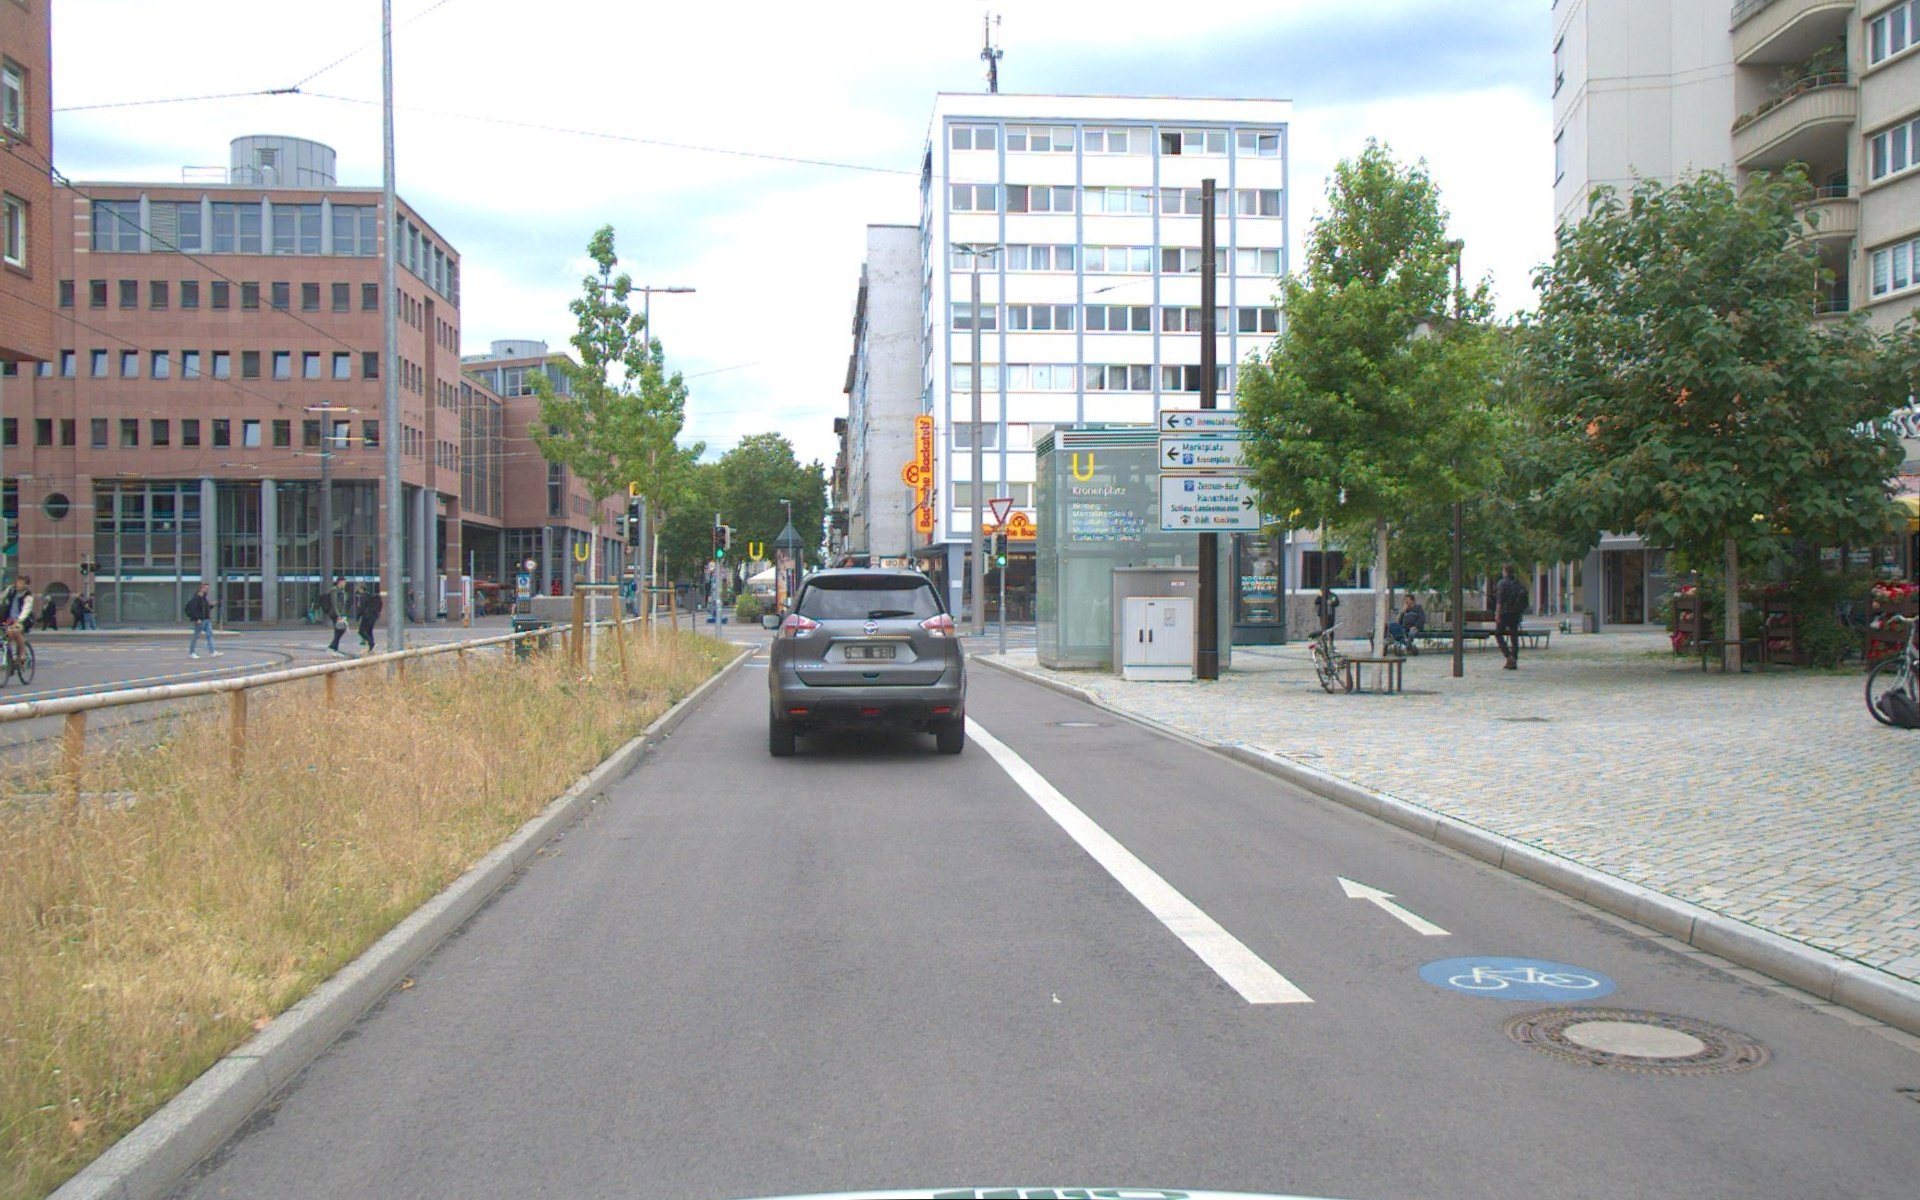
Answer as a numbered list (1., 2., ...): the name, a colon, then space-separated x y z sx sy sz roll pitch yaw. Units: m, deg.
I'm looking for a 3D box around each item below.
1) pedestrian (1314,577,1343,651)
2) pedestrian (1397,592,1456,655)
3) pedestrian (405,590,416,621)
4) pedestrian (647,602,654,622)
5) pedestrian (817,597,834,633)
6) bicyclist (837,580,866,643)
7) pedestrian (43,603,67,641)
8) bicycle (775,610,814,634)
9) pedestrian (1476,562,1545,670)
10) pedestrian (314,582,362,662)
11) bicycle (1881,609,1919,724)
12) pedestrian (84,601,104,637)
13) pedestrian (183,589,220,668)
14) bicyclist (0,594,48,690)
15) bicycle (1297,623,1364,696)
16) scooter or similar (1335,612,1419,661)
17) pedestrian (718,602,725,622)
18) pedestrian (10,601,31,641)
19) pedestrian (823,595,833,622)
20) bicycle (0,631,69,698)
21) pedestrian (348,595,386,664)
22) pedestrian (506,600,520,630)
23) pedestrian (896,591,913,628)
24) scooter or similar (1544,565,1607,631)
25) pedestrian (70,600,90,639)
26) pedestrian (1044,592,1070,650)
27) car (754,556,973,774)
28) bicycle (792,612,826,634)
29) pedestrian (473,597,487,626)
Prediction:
1. pedestrian: 9.135 0.342 41.006 0.657 1.792 0.642 1 0 10
2. pedestrian: 10.089 0.500 35.769 1.023 1.320 0.733 -2 0 0
3. pedestrian: -27.589 0.291 83.066 0.443 1.559 0.518 1 0 -23
4. pedestrian: -26.653 1.016 142.485 0.590 1.744 0.653 1 0 -12
5. pedestrian: -6.743 0.759 82.831 0.720 1.776 0.660 1 0 -17
6. bicyclist: -3.238 0.342 49.263 0.817 1.844 0.877 1 0 -3
7. pedestrian: -37.309 0.911 68.176 0.560 1.588 0.744 0 -2 0
8. bicycle: -8.340 1.103 83.372 1.839 1.192 0.528 1 0 -20
9. pedestrian: 9.718 0.283 29.234 0.700 1.834 1.076 -3 0 -6
10. pedestrian: -15.098 0.540 40.171 0.879 1.923 0.798 1 -1 -7
11. bicycle: 10.402 0.640 16.568 1.991 1.130 0.478 -2 0 10
12. pedestrian: -38.547 0.867 73.611 0.733 1.588 0.569 1 -2 -26
13. pedestrian: -18.574 0.698 40.531 0.599 1.923 0.798 0 -1 -7
14. bicyclist: -15.632 0.688 27.549 0.482 1.567 0.811 -1 0 -7
15. bicycle: 5.504 0.863 24.514 0.644 0.995 1.754 -1 0 23
16. scooter or similar: 8.830 0.777 35.038 1.559 0.965 0.723 -2 0 33
17. pedestrian: -21.248 1.080 147.356 0.590 1.744 0.653 1 0 -12
18. pedestrian: -37.894 0.854 66.718 0.562 1.602 0.628 1 -2 -13
19. pedestrian: -8.450 0.540 105.783 0.630 1.734 0.558 1 0 -4
20. bicycle: -15.642 1.064 27.795 0.467 1.039 1.909 -1 0 -6
21. pedestrian: -15.035 0.743 41.938 0.730 1.713 0.797 1 -1 -10
22. pedestrian: -28.307 0.928 104.656 0.723 1.874 0.696 1 0 -27
23. pedestrian: -2.617 0.433 78.415 0.695 1.734 0.735 1 0 7
24. scooter or similar: 17.690 -0.053 47.604 1.061 1.838 2.275 -1 0 3
25. pedestrian: -38.453 0.853 72.272 0.733 1.717 0.569 1 -2 -27
26. pedestrian: 3.022 0.641 51.569 0.610 1.792 0.777 1 0 -13
27. car: -0.849 0.537 16.507 1.825 1.805 4.566 -2 1 -1
28. bicycle: -7.589 1.134 83.120 1.672 1.084 0.434 1 0 -22
29. pedestrian: -31.260 0.761 107.640 0.724 1.874 0.695 1 0 -30
